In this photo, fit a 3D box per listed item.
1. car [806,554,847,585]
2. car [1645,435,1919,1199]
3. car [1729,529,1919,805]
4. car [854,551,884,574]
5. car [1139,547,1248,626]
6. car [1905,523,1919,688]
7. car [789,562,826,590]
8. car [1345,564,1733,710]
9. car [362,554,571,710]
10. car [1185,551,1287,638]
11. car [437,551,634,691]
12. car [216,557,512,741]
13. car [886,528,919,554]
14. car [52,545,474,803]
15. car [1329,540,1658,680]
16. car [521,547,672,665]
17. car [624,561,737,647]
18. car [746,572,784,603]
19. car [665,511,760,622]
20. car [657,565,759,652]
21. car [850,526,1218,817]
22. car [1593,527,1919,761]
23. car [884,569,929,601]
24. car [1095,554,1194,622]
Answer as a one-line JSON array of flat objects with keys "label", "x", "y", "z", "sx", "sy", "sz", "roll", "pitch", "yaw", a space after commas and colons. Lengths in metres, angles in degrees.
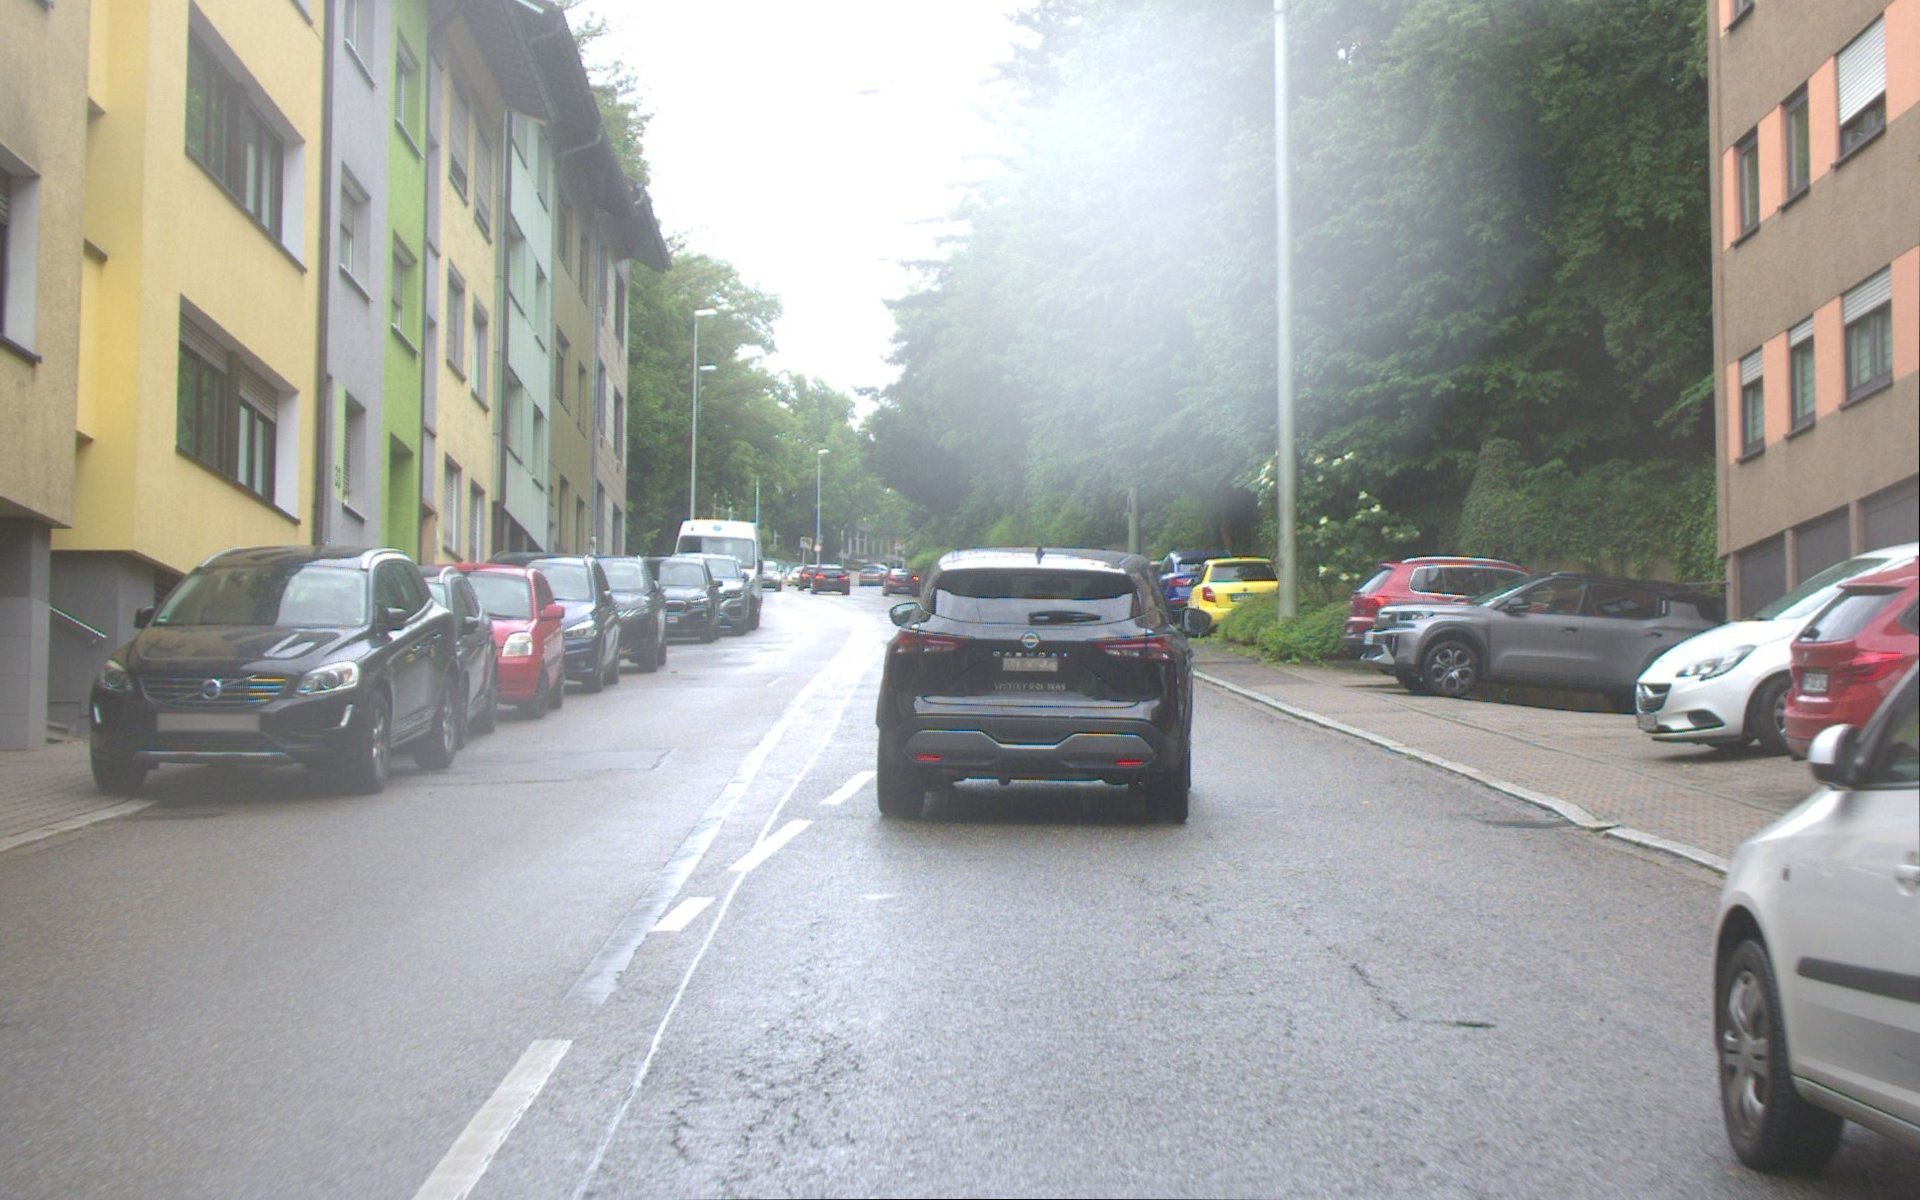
[{"label": "car", "x": -6.831, "y": -1.557, "z": 175.819, "sx": 2.074, "sy": 1.554, "sz": 4.000, "roll": 1, "pitch": 1, "yaw": -3}, {"label": "car", "x": 2.776, "y": 0.560, "z": 7.289, "sx": 1.640, "sy": 1.756, "sz": 4.001, "roll": 2, "pitch": 1, "yaw": -2}, {"label": "car", "x": 7.284, "y": 0.207, "z": 21.540, "sx": 4.341, "sy": 1.524, "sz": 1.877, "roll": -7, "pitch": 1, "yaw": -2}, {"label": "car", "x": -6.629, "y": -2.738, "z": 250.319, "sx": 1.993, "sy": 1.554, "sz": 4.000, "roll": -1, "pitch": -1, "yaw": 1}, {"label": "car", "x": 4.795, "y": -0.295, "z": 71.092, "sx": 1.811, "sy": 1.525, "sz": 4.417, "roll": -2, "pitch": 1, "yaw": -2}, {"label": "car", "x": 7.461, "y": 0.235, "z": 19.019, "sx": 3.826, "sy": 1.696, "sz": 1.729, "roll": -6, "pitch": 1, "yaw": -2}, {"label": "car", "x": -8.774, "y": -1.411, "z": 197.683, "sx": 2.074, "sy": 1.554, "sz": 4.000, "roll": 1, "pitch": 1, "yaw": -2}, {"label": "car", "x": 6.840, "y": 0.425, "z": 40.888, "sx": 4.197, "sy": 1.491, "sz": 1.760, "roll": 3, "pitch": 1, "yaw": -3}, {"label": "car", "x": -4.902, "y": 0.283, "z": 34.527, "sx": 1.728, "sy": 1.467, "sz": 3.491, "roll": 0, "pitch": 1, "yaw": -2}, {"label": "car", "x": 5.121, "y": -0.127, "z": 64.131, "sx": 1.633, "sy": 1.525, "sz": 4.000, "roll": 2, "pitch": 1, "yaw": 1}, {"label": "car", "x": -5.041, "y": 0.207, "z": 41.356, "sx": 1.993, "sy": 1.579, "sz": 4.472, "roll": 0, "pitch": 1, "yaw": -2}, {"label": "car", "x": -5.126, "y": 0.369, "z": 30.106, "sx": 1.993, "sy": 1.467, "sz": 4.349, "roll": 0, "pitch": 1, "yaw": -2}, {"label": "car", "x": -3.761, "y": -3.825, "z": 224.036, "sx": 1.993, "sy": 1.554, "sz": 4.000, "roll": -1, "pitch": -1, "yaw": 1}, {"label": "car", "x": -4.778, "y": 0.437, "z": 24.239, "sx": 1.993, "sy": 1.644, "sz": 4.441, "roll": 0, "pitch": 1, "yaw": 1}, {"label": "car", "x": 7.485, "y": 0.132, "z": 48.452, "sx": 4.197, "sy": 1.729, "sz": 1.760, "roll": 3, "pitch": 0, "yaw": -5}, {"label": "car", "x": -5.096, "y": 0.052, "z": 48.654, "sx": 1.853, "sy": 1.579, "sz": 4.305, "roll": 0, "pitch": 1, "yaw": -2}, {"label": "car", "x": -5.365, "y": 0.048, "z": 66.365, "sx": 1.990, "sy": 1.579, "sz": 4.305, "roll": 0, "pitch": 1, "yaw": -2}, {"label": "car", "x": -10.554, "y": -0.673, "z": 186.305, "sx": 1.993, "sy": 1.554, "sz": 4.001, "roll": 2, "pitch": 1, "yaw": -3}, {"label": "car", "x": -5.659, "y": -0.797, "z": 79.183, "sx": 1.990, "sy": 2.466, "sz": 5.785, "roll": 0, "pitch": 1, "yaw": -2}, {"label": "car", "x": -5.275, "y": 0.149, "z": 72.375, "sx": 1.990, "sy": 1.749, "sz": 4.480, "roll": 0, "pitch": 1, "yaw": -2}, {"label": "car", "x": 0.371, "y": 0.354, "z": 21.090, "sx": 1.993, "sy": 1.554, "sz": 4.000, "roll": 2, "pitch": 1, "yaw": -1}, {"label": "car", "x": 7.081, "y": 0.247, "z": 26.375, "sx": 3.961, "sy": 1.524, "sz": 1.693, "roll": -5, "pitch": 1, "yaw": -5}, {"label": "car", "x": -2.787, "y": -0.771, "z": 177.144, "sx": 2.074, "sy": 1.554, "sz": 4.001, "roll": 1, "pitch": 1, "yaw": -4}, {"label": "car", "x": 4.353, "y": -0.301, "z": 81.532, "sx": 1.810, "sy": 1.525, "sz": 4.418, "roll": -2, "pitch": 1, "yaw": -3}]
